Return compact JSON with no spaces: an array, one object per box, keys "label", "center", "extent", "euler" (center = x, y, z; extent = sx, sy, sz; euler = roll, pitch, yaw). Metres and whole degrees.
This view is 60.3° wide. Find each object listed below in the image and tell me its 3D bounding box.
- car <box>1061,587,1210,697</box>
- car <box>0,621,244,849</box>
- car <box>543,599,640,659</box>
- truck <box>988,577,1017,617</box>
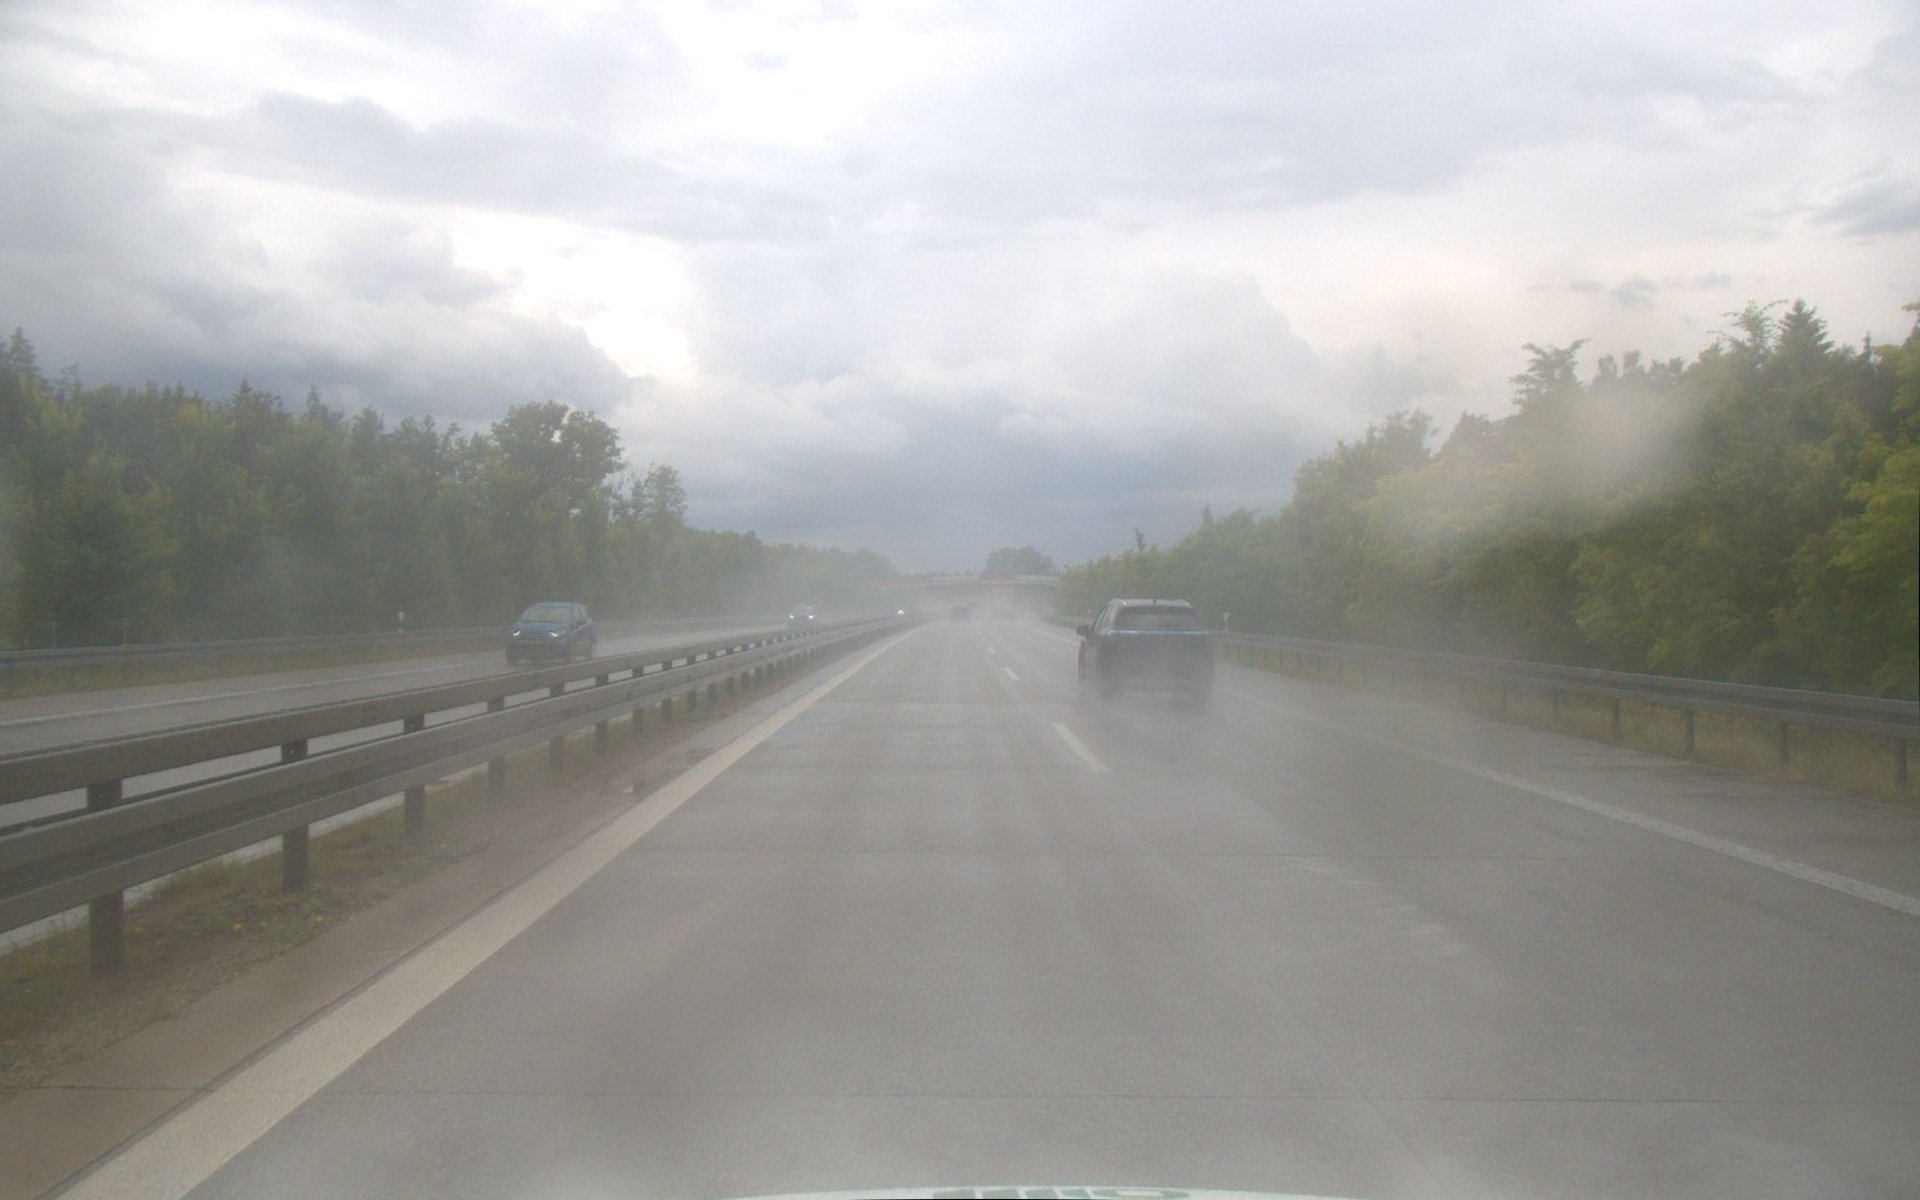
[{"label":"car","center":[2.710,0.655,26.316],"extent":[1.856,1.604,3.630],"euler":[1,-1,-2]},{"label":"car","center":[-7.471,0.937,13.047],"extent":[1.863,1.525,4.219],"euler":[1,-1,-2]},{"label":"car","center":[-11.170,0.835,50.398],"extent":[1.953,1.626,4.789],"euler":[-2,1,-2]},{"label":"truck","center":[4.900,-0.317,189.367],"extent":[3.176,4.515,8.247],"euler":[0,-1,2]}]
